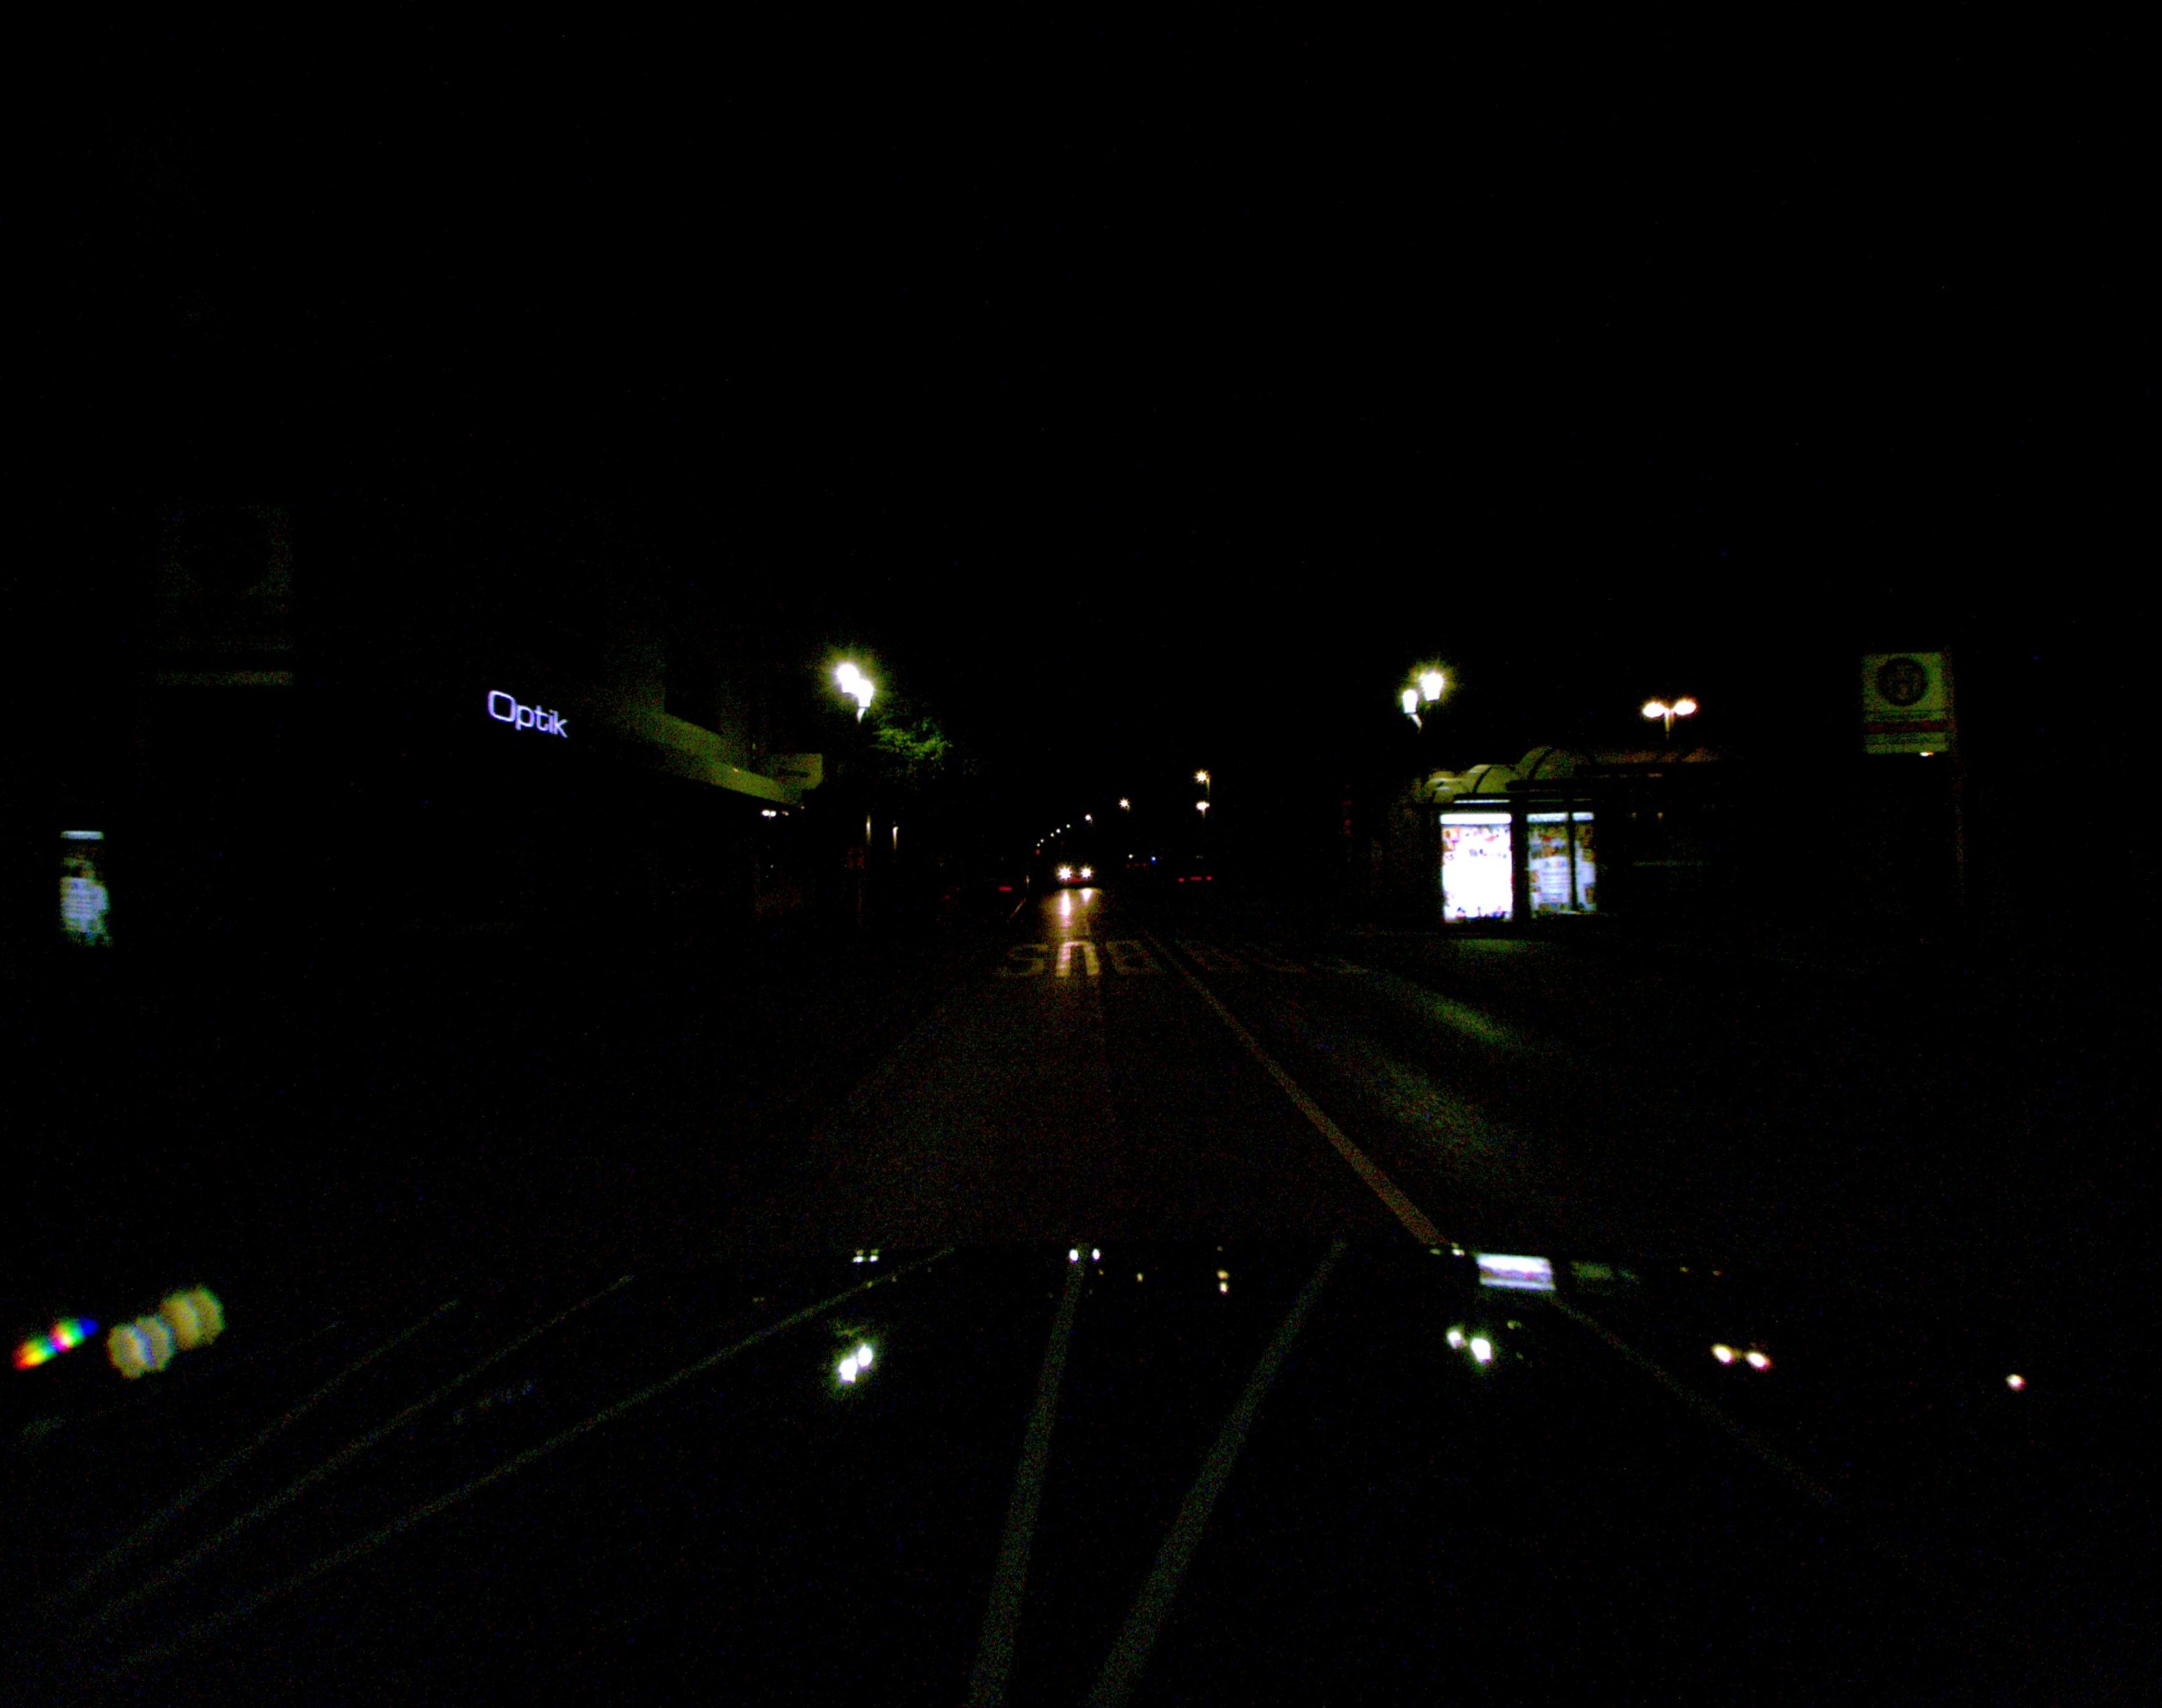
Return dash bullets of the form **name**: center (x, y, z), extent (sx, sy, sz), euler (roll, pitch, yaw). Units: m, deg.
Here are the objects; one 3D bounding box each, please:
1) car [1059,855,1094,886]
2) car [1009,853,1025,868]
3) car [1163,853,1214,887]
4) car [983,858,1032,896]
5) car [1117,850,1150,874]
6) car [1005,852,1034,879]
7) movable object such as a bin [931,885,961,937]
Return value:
- **car**: center (-0.264, 0.830, 40.008), extent (1.628, 1.496, 3.548), euler (-2, 1, -3)
- **car**: center (-7.162, 0.725, 84.930), extent (1.643, 1.458, 3.774), euler (-3, 1, -5)
- **car**: center (5.104, 0.721, 36.543), extent (1.696, 1.428, 4.127), euler (-3, 1, -2)
- **car**: center (-3.017, 0.922, 32.098), extent (1.863, 1.434, 4.592), euler (0, 1, -3)
- **car**: center (3.699, 0.539, 53.840), extent (1.697, 1.515, 3.688), euler (-2, 2, -6)
- **car**: center (-3.882, 0.679, 48.476), extent (1.792, 1.632, 4.378), euler (0, 1, -4)
- **movable object such as a bin**: center (-2.622, 1.097, 14.778), extent (0.525, 0.932, 0.628), euler (-2, 2, -11)
